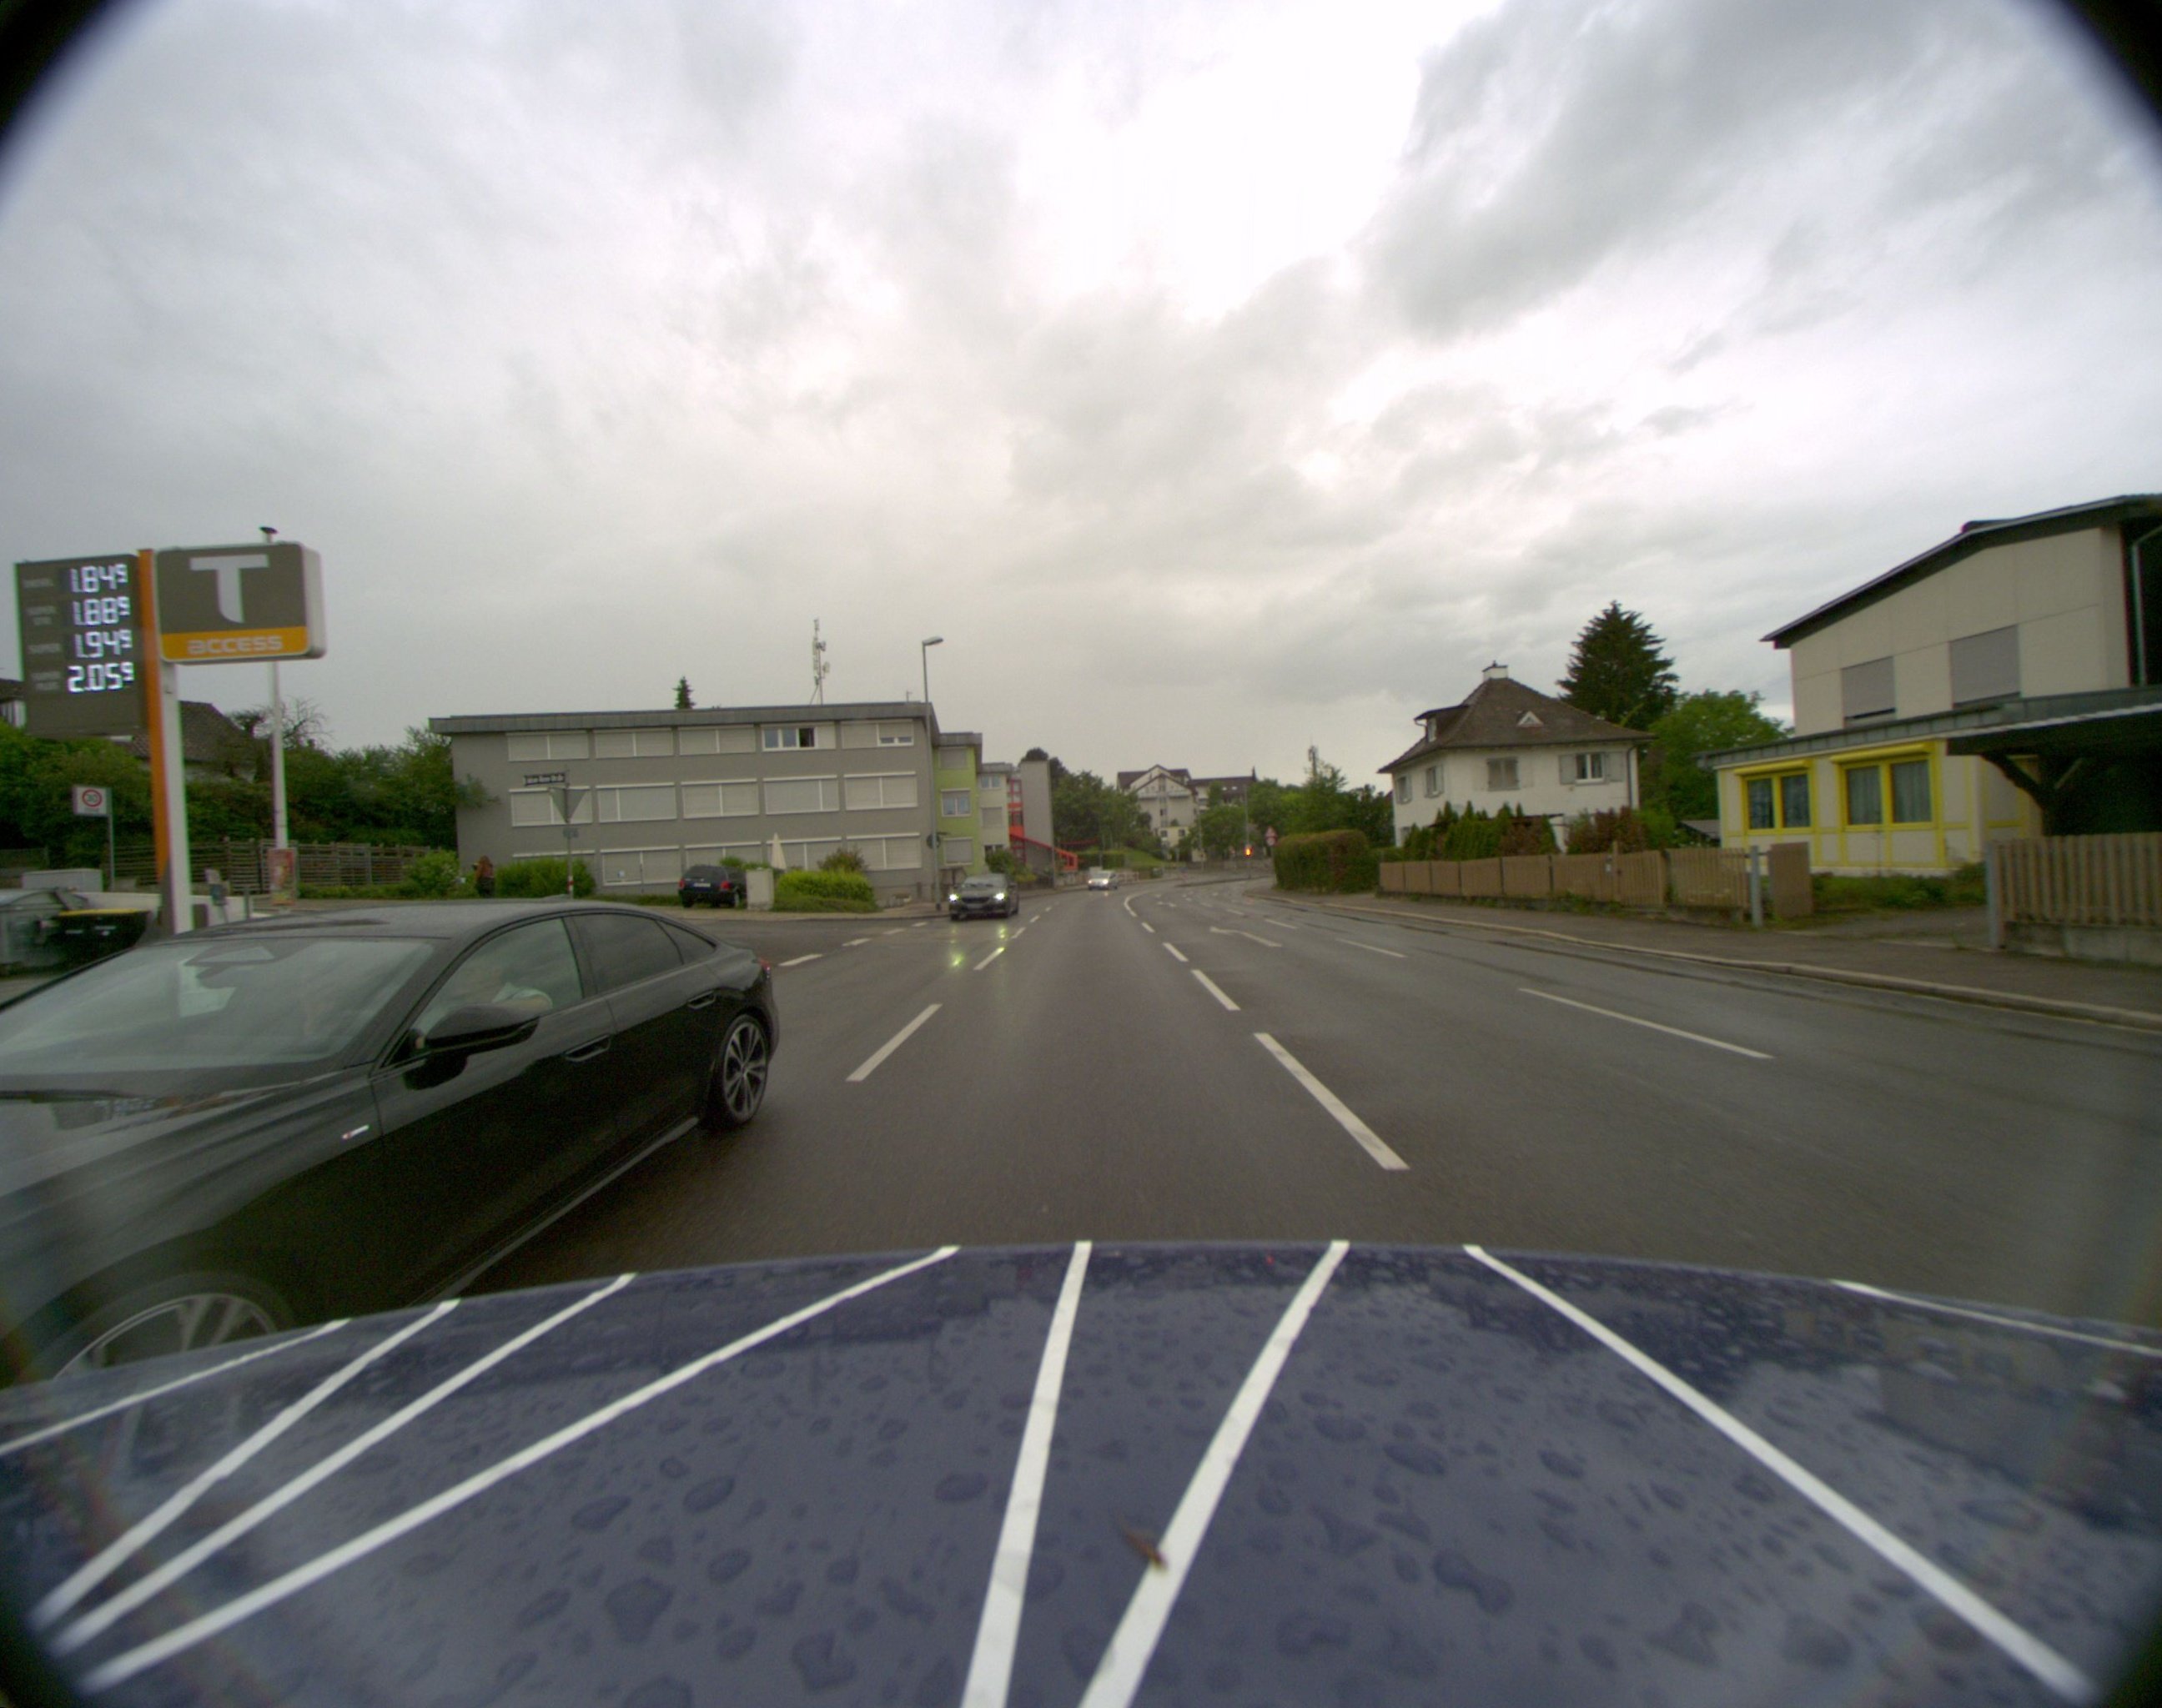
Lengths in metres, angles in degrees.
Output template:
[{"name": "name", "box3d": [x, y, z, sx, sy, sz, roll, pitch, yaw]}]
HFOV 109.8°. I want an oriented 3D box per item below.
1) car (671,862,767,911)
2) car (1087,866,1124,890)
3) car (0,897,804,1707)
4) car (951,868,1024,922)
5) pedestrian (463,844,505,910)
[{"name": "car", "box3d": [-12.546, 1.070, 26.619, 1.815, 1.518, 3.997, 1, 0, -7]}, {"name": "car", "box3d": [2.034, 1.943, 62.419, 1.996, 1.647, 4.004, -2, 1, 17]}, {"name": "car", "box3d": [-2.941, 1.074, 2.925, 1.871, 1.416, 4.739, -2, 1, 1]}, {"name": "car", "box3d": [-3.092, 1.336, 25.918, 1.872, 1.510, 4.000, -2, 1, 1]}, {"name": "pedestrian", "box3d": [-18.381, 0.688, 23.407, 0.717, 2.002, 0.614, -1, 1, 1]}]
